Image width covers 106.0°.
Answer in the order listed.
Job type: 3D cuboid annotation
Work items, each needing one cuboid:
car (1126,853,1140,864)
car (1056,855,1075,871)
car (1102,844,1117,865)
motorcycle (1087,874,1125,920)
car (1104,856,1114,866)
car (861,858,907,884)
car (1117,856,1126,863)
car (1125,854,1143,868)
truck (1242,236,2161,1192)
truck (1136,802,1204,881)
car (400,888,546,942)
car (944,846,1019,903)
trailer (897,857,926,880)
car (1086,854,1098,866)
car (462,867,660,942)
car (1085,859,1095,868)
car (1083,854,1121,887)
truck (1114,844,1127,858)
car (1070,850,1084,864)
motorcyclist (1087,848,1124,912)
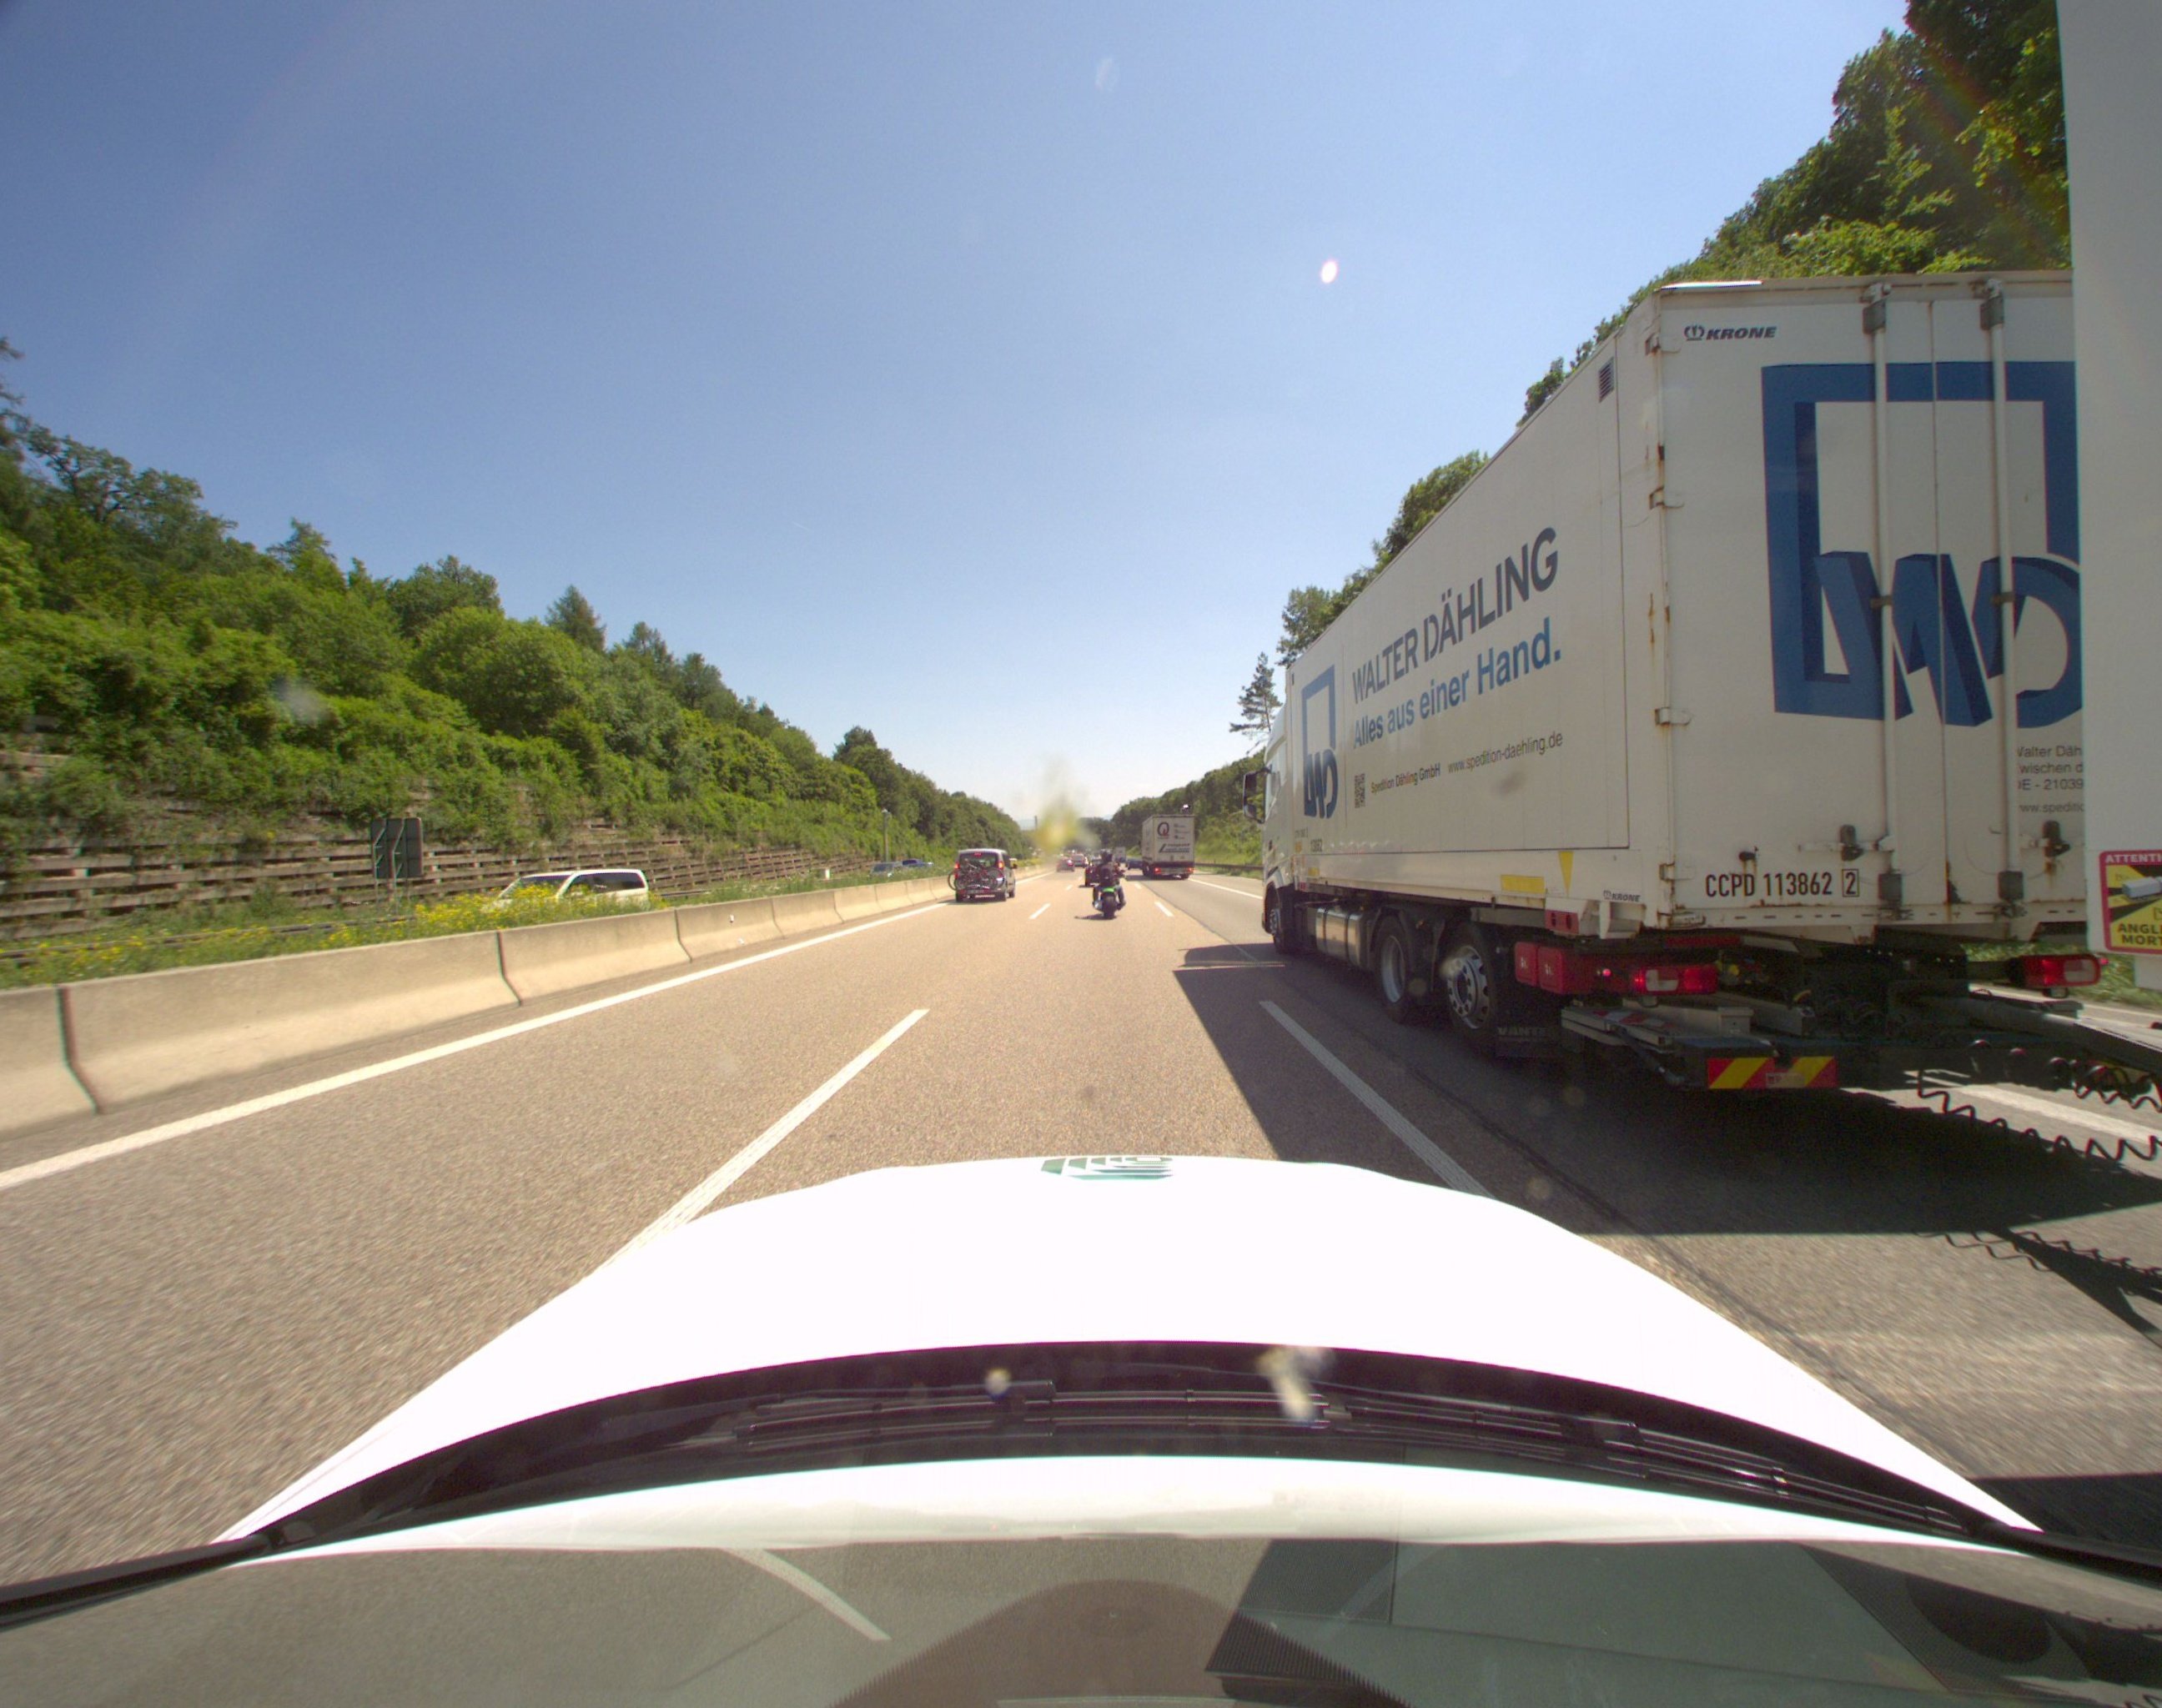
[{"bbox_3d":[7.447,0.614,117.539,1.824,1.558,4.121,-1,1,1],"label":"car"},{"bbox_3d":[-1.575,0.916,85.324,1.751,1.543,4.396,-1,1,1],"label":"car"},{"bbox_3d":[3.592,0.034,102.000,1.824,2.490,4.646,-1,1,1],"label":"car"},{"bbox_3d":[0.628,1.030,20.099,0.859,0.982,2.132,-1,0,2],"label":"motorcycle"},{"bbox_3d":[4.996,1.218,145.321,1.824,1.558,4.121,-1,1,1],"label":"car"},{"bbox_3d":[-12.822,1.080,53.257,1.781,1.522,4.206,-2,0,3],"label":"car"},{"bbox_3d":[8.899,1.196,179.893,1.824,1.558,4.121,-1,1,1],"label":"car"},{"bbox_3d":[5.993,0.777,92.459,1.824,1.558,4.121,-1,1,1],"label":"car"},{"bbox_3d":[4.021,-0.658,8.794,2.670,4.059,10.629,-1,1,1],"label":"truck"},{"bbox_3d":[5.976,-0.874,58.131,3.371,4.717,17.716,0,1,2],"label":"truck"},{"bbox_3d":[-21.585,2.108,29.146,1.930,1.522,4.204,-2,0,1],"label":"car"},{"bbox_3d":[-3.464,0.652,29.359,1.891,1.848,5.484,-1,0,1],"label":"car"},{"bbox_3d":[-16.556,1.370,79.716,1.888,2.117,3.497,-2,0,3],"label":"trailer"},{"bbox_3d":[1.738,0.926,128.817,1.824,1.810,4.121,-1,1,1],"label":"car"},{"bbox_3d":[-13.826,1.269,22.130,1.885,1.607,5.081,-2,1,2],"label":"car"},{"bbox_3d":[1.795,1.893,162.719,1.824,1.810,4.121,-1,1,1],"label":"car"},{"bbox_3d":[1.092,0.813,42.230,1.839,1.557,4.441,-1,1,1],"label":"car"},{"bbox_3d":[9.776,-0.879,203.791,3.056,3.346,9.656,0,1,2],"label":"truck"},{"bbox_3d":[-0.521,0.451,111.028,1.824,1.810,4.121,-1,1,1],"label":"car"},{"bbox_3d":[0.614,0.627,19.987,0.852,1.515,0.914,-1,0,2],"label":"motorcyclist"}]
